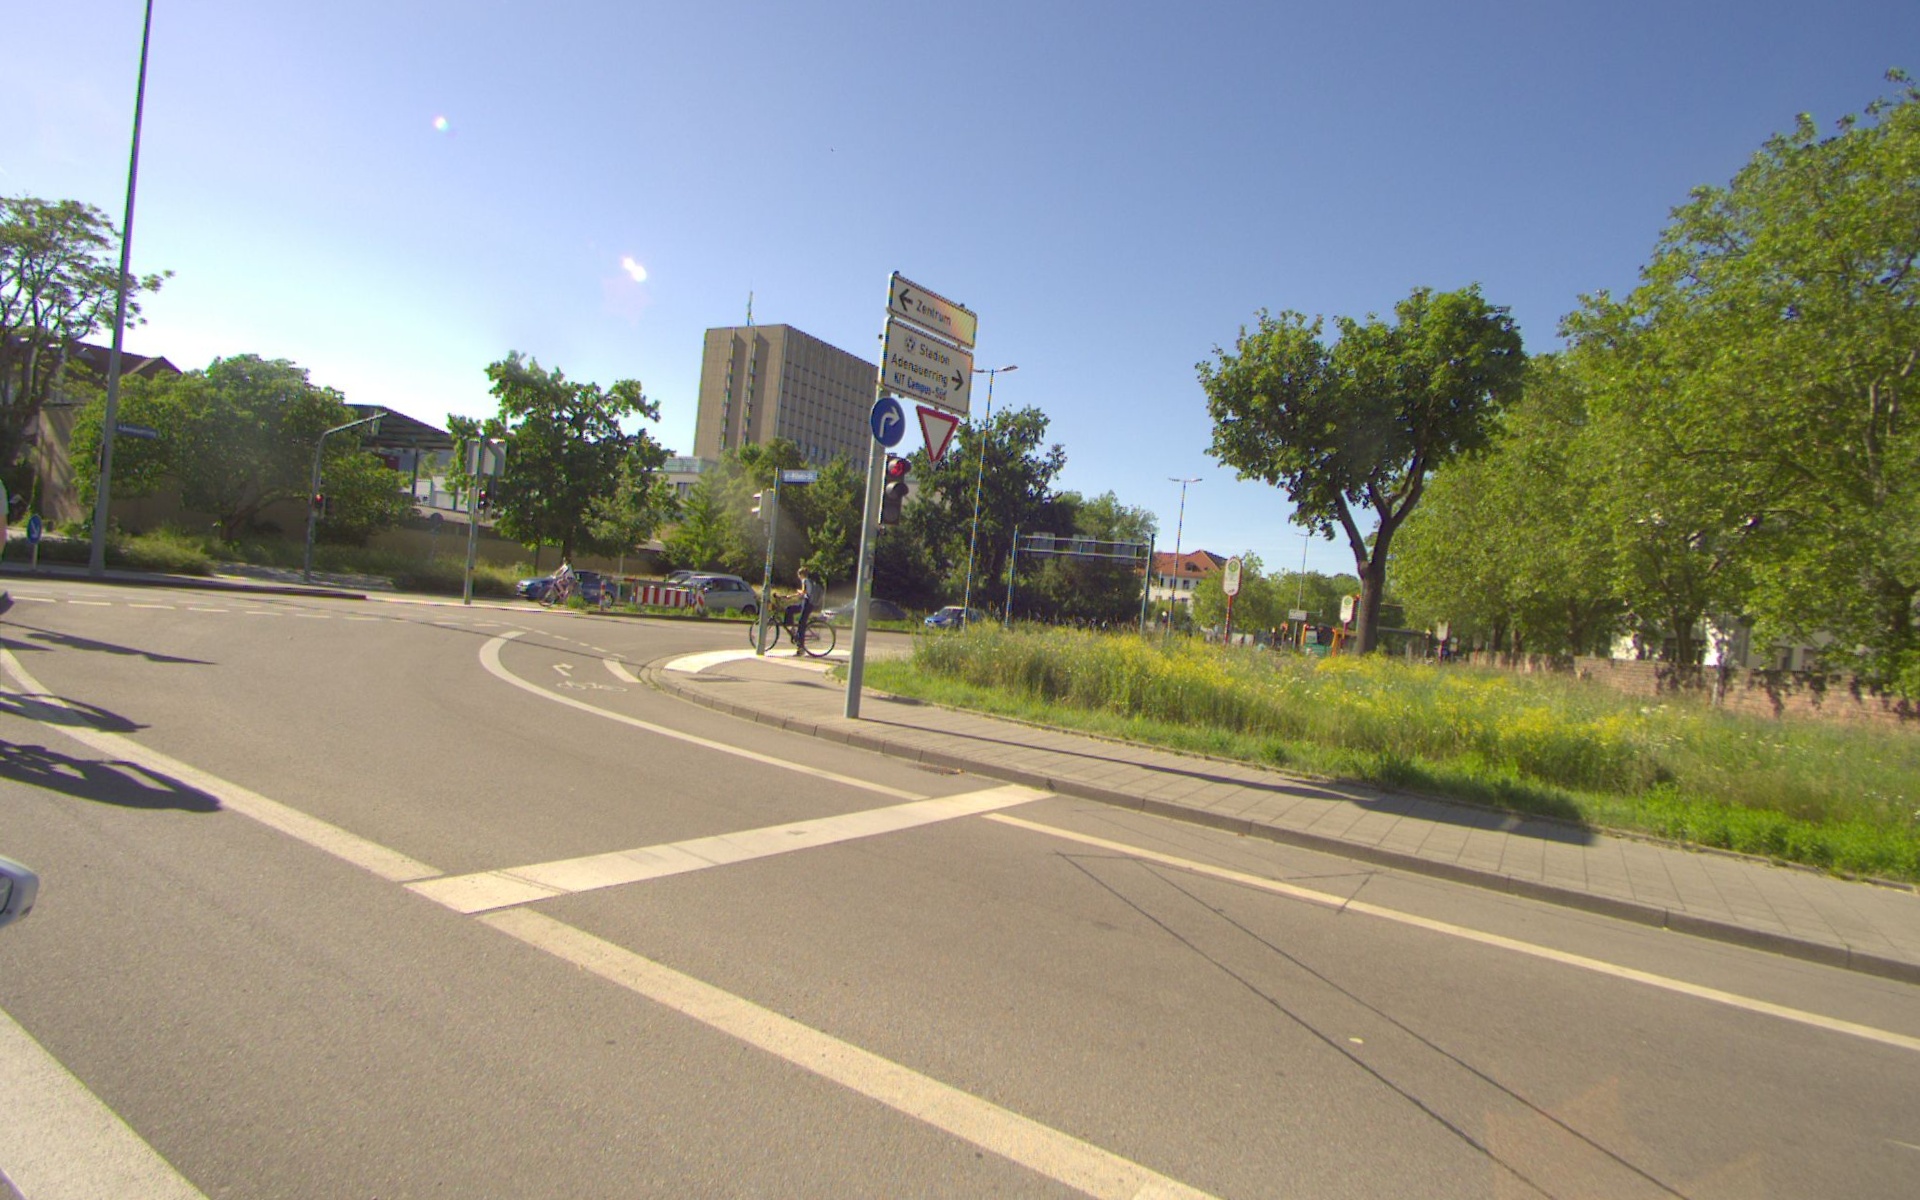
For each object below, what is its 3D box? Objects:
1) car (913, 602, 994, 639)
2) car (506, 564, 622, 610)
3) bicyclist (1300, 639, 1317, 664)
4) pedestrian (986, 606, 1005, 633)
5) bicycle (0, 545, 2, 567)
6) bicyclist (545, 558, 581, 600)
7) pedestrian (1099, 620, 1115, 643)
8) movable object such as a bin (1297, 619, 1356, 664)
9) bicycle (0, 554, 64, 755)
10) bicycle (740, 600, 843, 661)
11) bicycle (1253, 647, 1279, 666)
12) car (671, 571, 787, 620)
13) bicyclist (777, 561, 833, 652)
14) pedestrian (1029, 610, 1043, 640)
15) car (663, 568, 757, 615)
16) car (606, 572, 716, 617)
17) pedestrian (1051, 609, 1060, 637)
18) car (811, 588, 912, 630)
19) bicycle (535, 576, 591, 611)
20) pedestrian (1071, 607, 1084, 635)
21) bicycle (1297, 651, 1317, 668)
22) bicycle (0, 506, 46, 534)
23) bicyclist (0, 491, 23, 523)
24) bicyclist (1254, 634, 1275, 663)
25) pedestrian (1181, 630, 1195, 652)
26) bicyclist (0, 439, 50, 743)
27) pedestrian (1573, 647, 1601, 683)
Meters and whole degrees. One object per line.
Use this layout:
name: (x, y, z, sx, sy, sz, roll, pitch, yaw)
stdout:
car: (-0.291, 1.050, 50.457, 1.916, 1.415, 3.986, 6, 0, 37)
car: (-16.208, -0.525, 41.318, 1.767, 1.415, 3.986, 7, 0, 37)
bicyclist: (22.256, 3.310, 64.253, 0.509, 1.548, 1.067, 7, 2, 39)
pedestrian: (2.890, 1.620, 82.442, 0.752, 2.039, 1.267, 7, 1, 36)
bicycle: (-8.247, 0.018, 7.777, 1.890, 1.102, 0.690, 6, -1, 32)
bicyclist: (-13.932, -0.722, 35.283, 0.602, 1.360, 0.874, 7, 1, 37)
pedestrian: (13.665, 2.937, 93.553, 0.752, 2.039, 1.267, 7, 1, 36)
movable object such as a bin: (28.106, 3.274, 76.852, 2.954, 2.898, 9.178, 6, 0, 27)
bicycle: (-6.298, 0.237, 6.109, 1.890, 1.102, 0.690, 6, -1, 32)
bicycle: (-3.288, 0.592, 19.678, 1.856, 0.970, 0.635, 7, 1, -10)
bicycle: (17.150, 3.165, 56.399, 0.640, 0.986, 1.895, 7, 1, 39)
car: (-8.737, -0.130, 38.289, 1.767, 1.415, 3.986, 7, 0, 37)
bicyclist: (-3.035, 0.125, 19.705, 0.898, 1.667, 0.630, 6, 1, -9)
pedestrian: (6.516, 2.178, 86.269, 0.660, 2.451, 0.770, 6, -1, 34)
car: (-11.840, -0.366, 47.796, 1.767, 1.771, 3.986, 7, 0, 37)
car: (-12.297, -0.199, 41.571, 1.767, 1.415, 3.986, 7, 0, 37)
pedestrian: (8.630, 2.108, 90.966, 0.401, 2.451, 0.467, 6, -1, 34)
car: (-4.306, 0.436, 44.630, 1.767, 1.415, 4.557, 7, 0, 37)
bicycle: (-13.934, -0.227, 35.359, 0.602, 1.046, 1.681, 7, 0, 37)
pedestrian: (10.785, 1.904, 92.238, 0.710, 2.451, 0.585, 6, -1, 34)
bicycle: (22.176, 3.776, 64.221, 0.514, 1.000, 1.965, 7, 1, 39)
bicycle: (-47.748, -4.092, 50.688, 2.421, 1.155, 0.689, 7, 0, -38)
bicyclist: (-47.750, -4.697, 50.627, 0.711, 1.499, 0.689, 6, 1, -38)
bicyclist: (16.977, 2.724, 56.117, 0.632, 1.533, 1.049, 7, 2, 39)
pedestrian: (25.072, 4.526, 110.581, 0.937, 2.318, 1.090, 6, -1, 33)
bicyclist: (-6.296, -0.113, 6.131, 1.123, 1.813, 0.684, 7, 0, 32)
pedestrian: (26.855, 2.768, 43.110, 0.712, 1.460, 0.523, 7, -1, 2)
